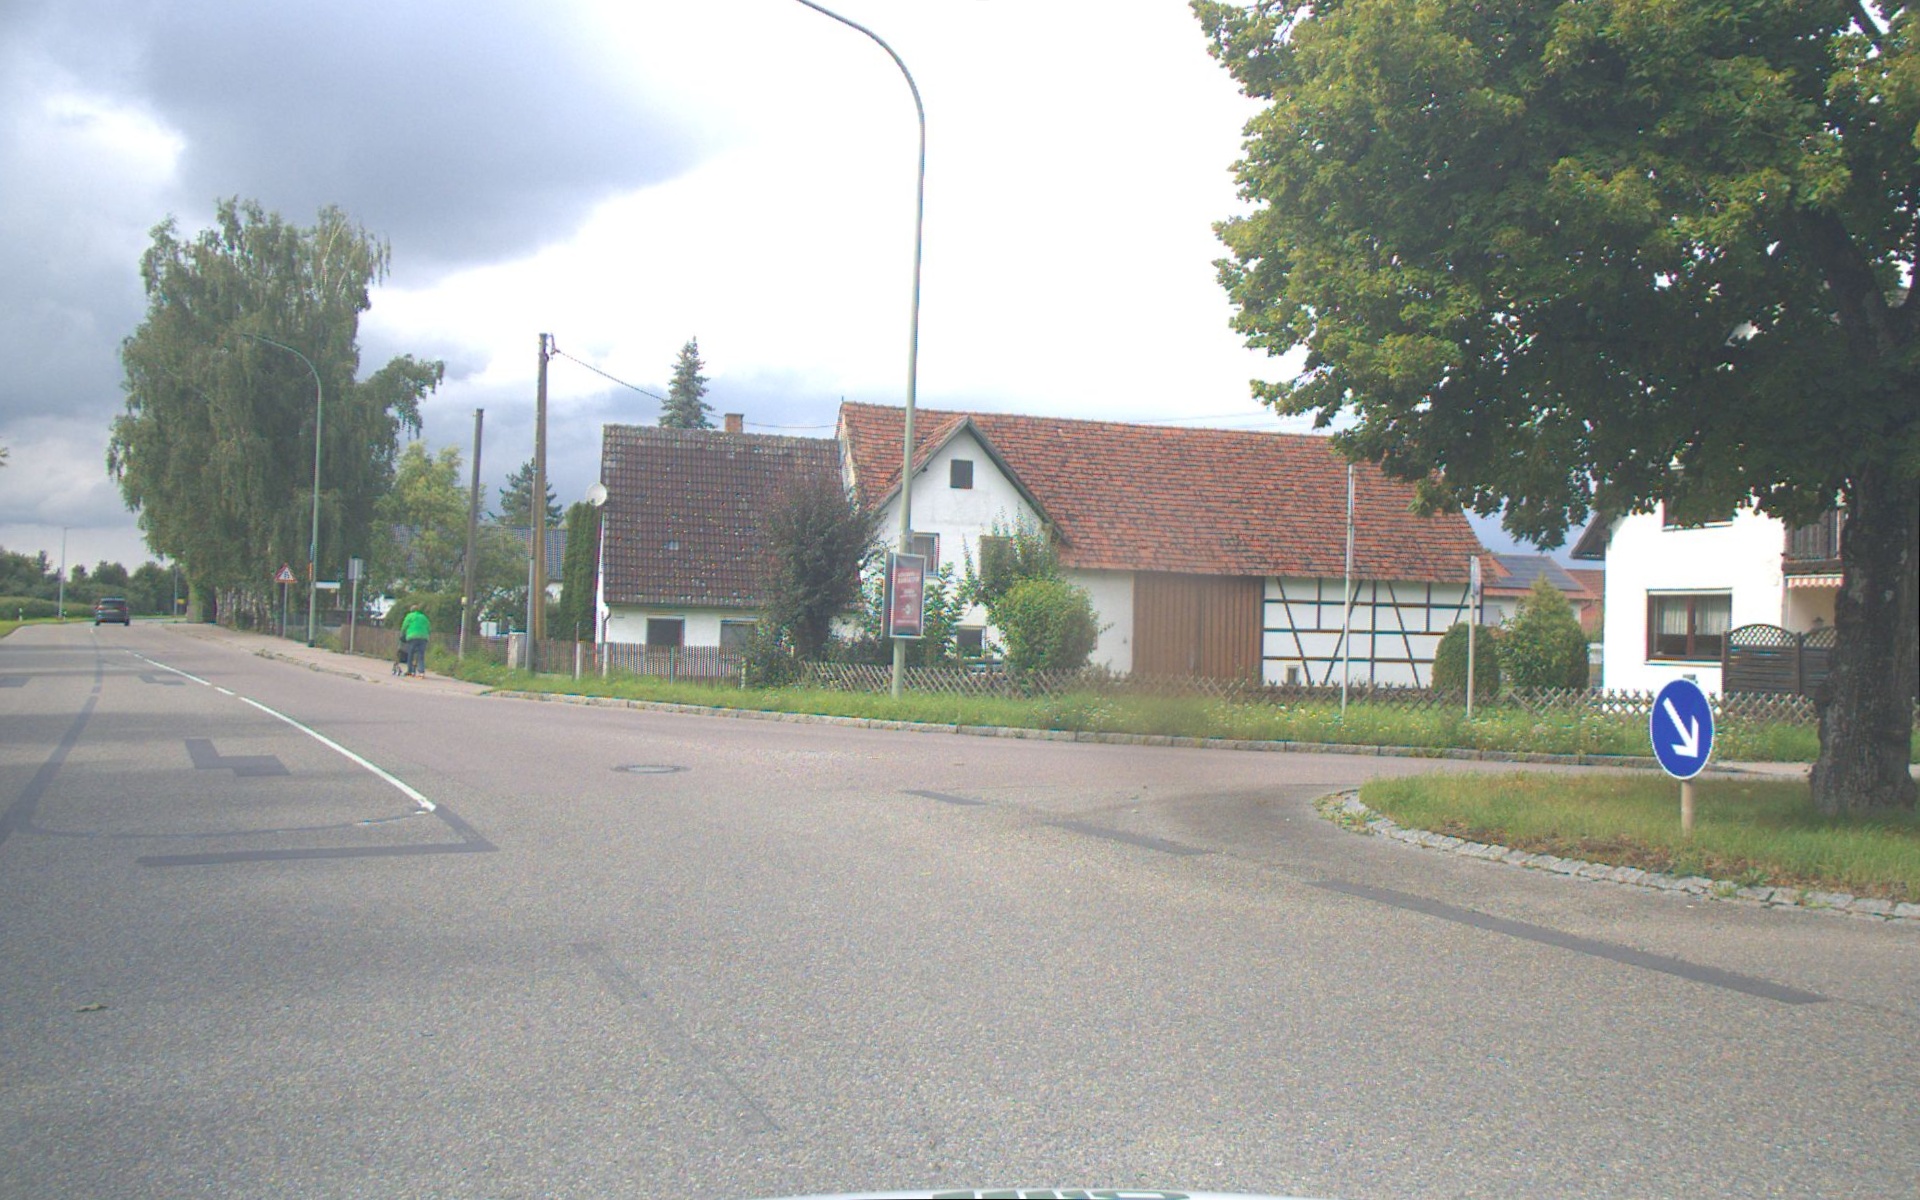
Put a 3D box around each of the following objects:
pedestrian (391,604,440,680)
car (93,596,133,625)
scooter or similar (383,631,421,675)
[{"bbox_3d":[-12.682,0.975,38.535,0.781,1.694,0.704,7,-4,-33],"label":"pedestrian"},{"bbox_3d":[-49.890,0.596,97.494,1.970,1.579,3.965,3,-1,-27],"label":"car"},{"bbox_3d":[-13.161,1.254,39.017,0.625,0.964,0.615,7,-4,-33],"label":"scooter or similar"}]
